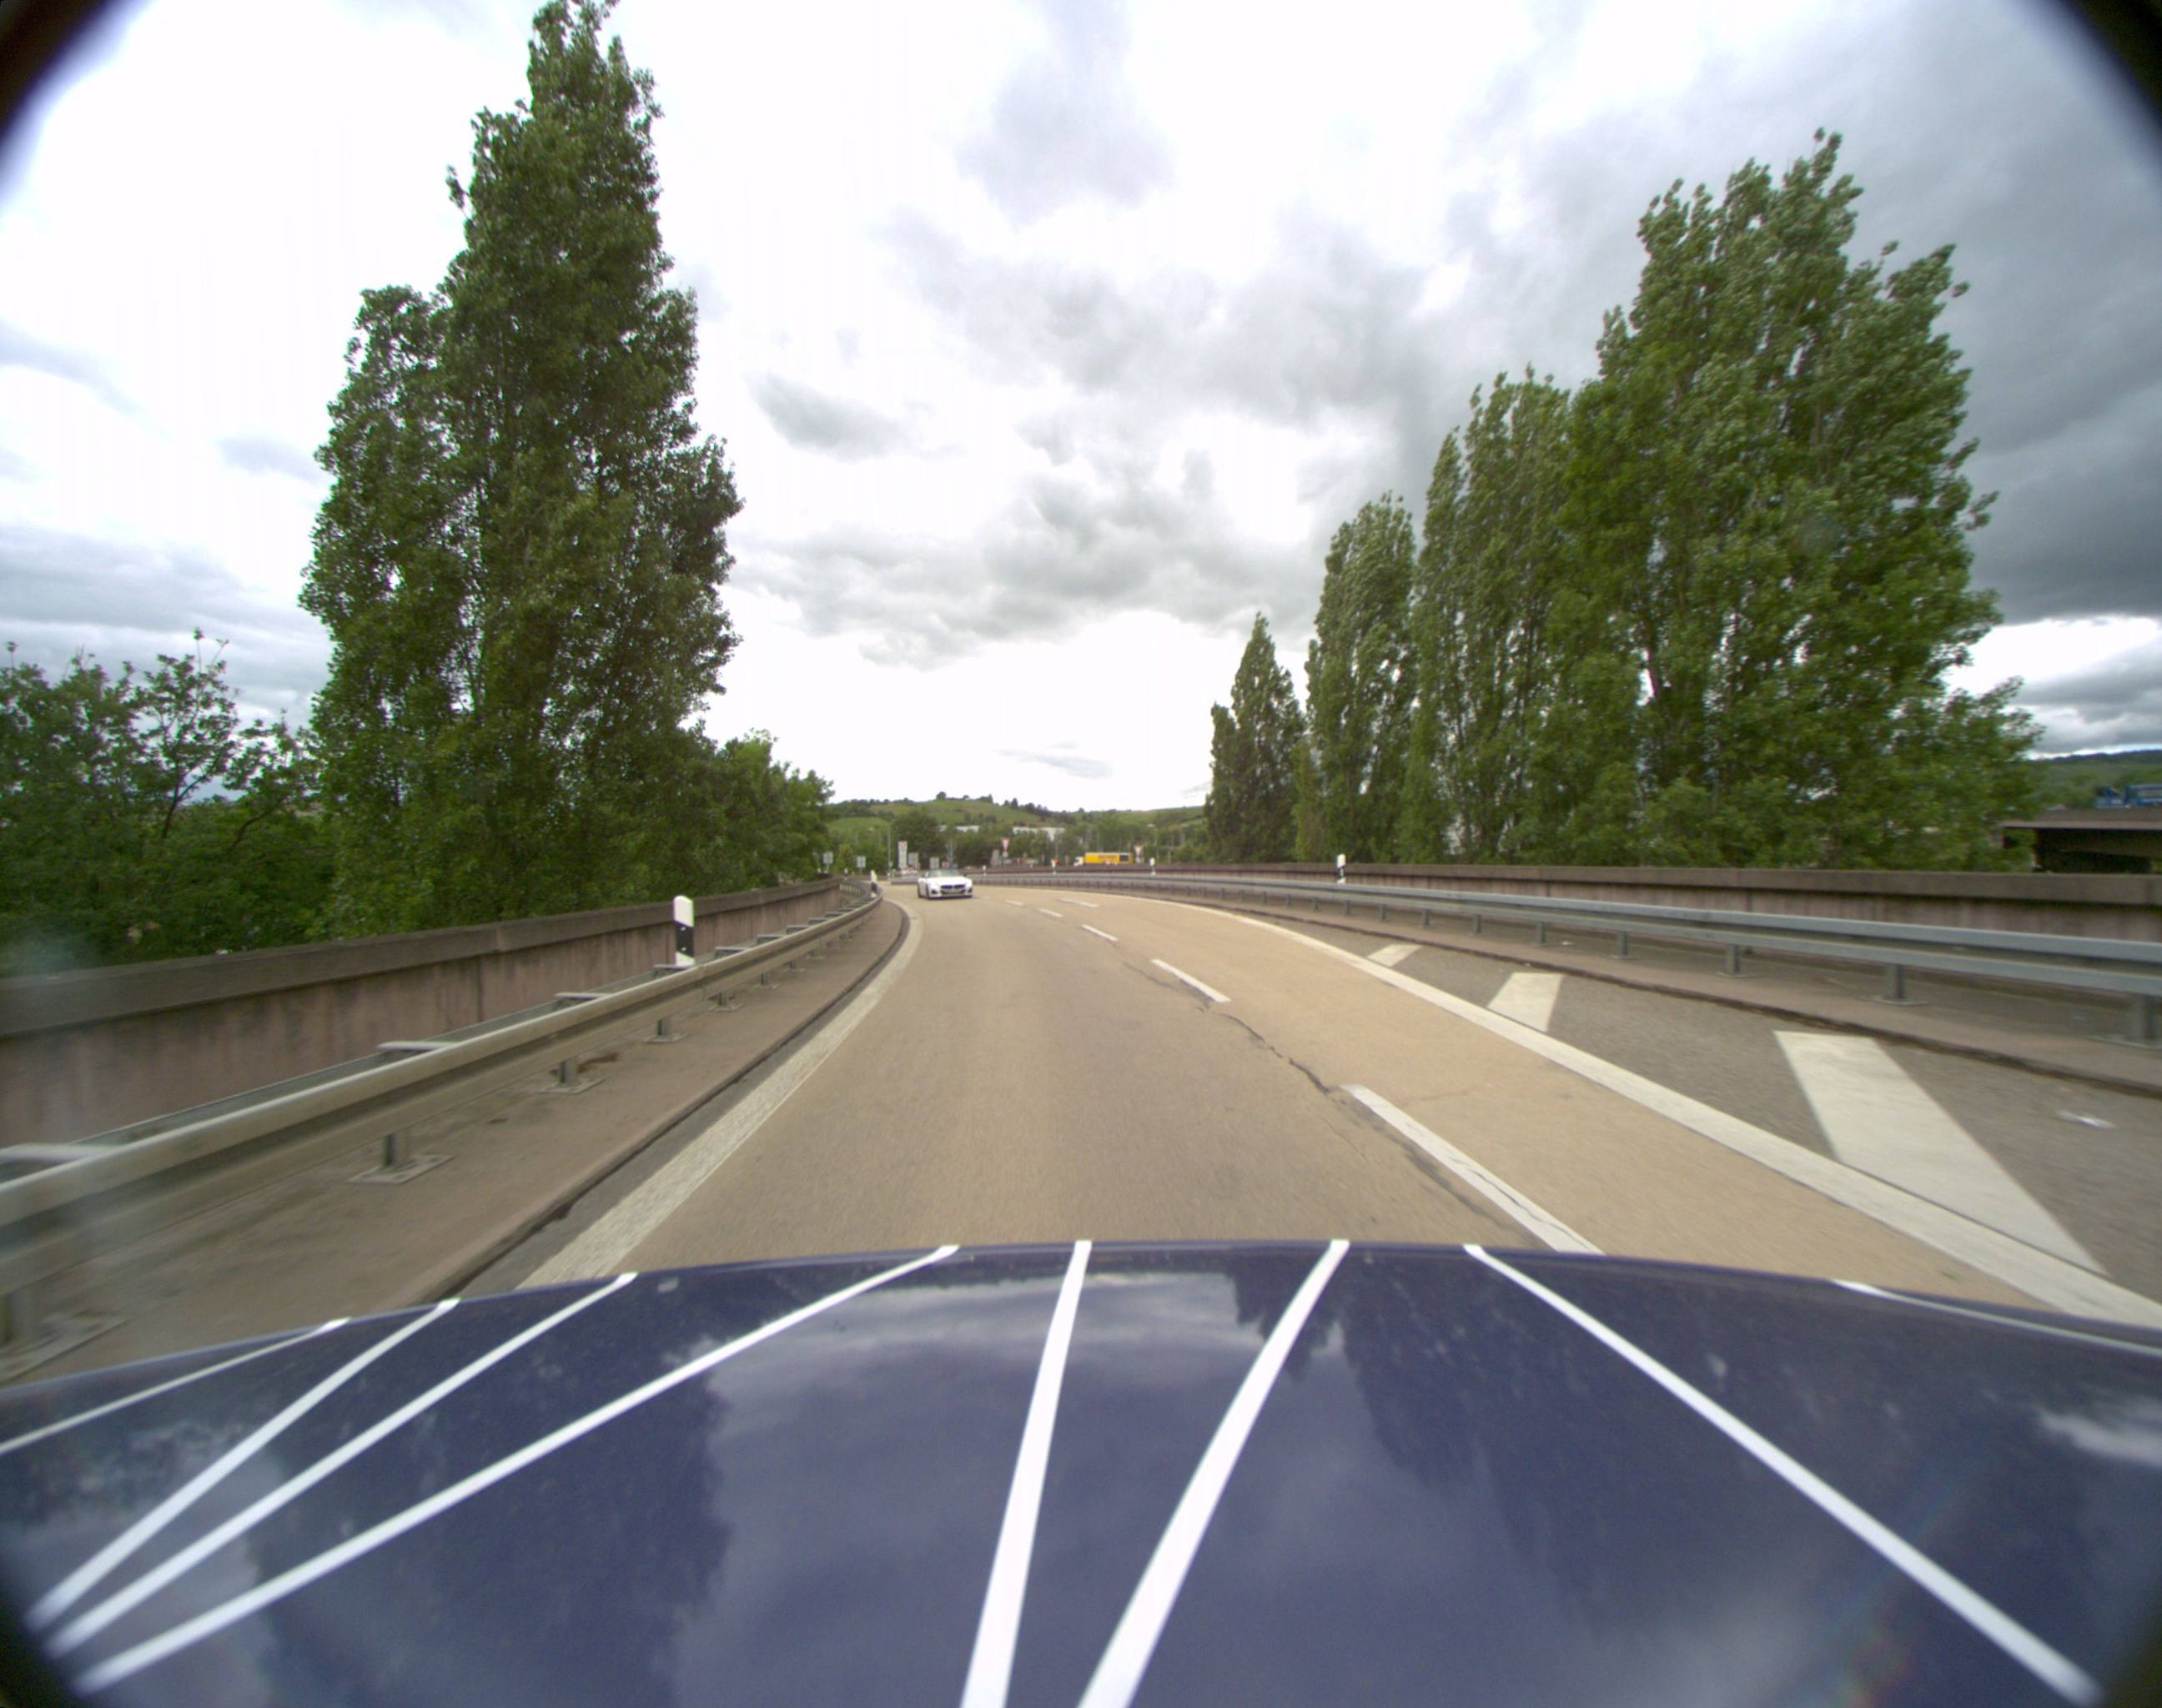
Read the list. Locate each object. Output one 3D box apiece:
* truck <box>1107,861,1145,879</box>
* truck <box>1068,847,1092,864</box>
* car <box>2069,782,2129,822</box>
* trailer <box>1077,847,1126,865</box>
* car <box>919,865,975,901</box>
[{"bbox_3d":[8.673,3.067,147.139,7.004,3.245,2.347,0,1,-26],"label":"truck"},{"bbox_3d":[-0.266,0.389,185.112,5.090,4.180,2.639,0,2,22],"label":"truck"},{"bbox_3d":[103.350,-5.230,77.179,2.360,3.639,4.808,-5,-1,39],"label":"car"},{"bbox_3d":[4.857,0.491,183.021,11.628,4.180,2.639,0,2,22],"label":"trailer"},{"bbox_3d":[-5.910,1.199,33.118,1.865,1.337,4.818,-2,0,-16],"label":"car"}]
